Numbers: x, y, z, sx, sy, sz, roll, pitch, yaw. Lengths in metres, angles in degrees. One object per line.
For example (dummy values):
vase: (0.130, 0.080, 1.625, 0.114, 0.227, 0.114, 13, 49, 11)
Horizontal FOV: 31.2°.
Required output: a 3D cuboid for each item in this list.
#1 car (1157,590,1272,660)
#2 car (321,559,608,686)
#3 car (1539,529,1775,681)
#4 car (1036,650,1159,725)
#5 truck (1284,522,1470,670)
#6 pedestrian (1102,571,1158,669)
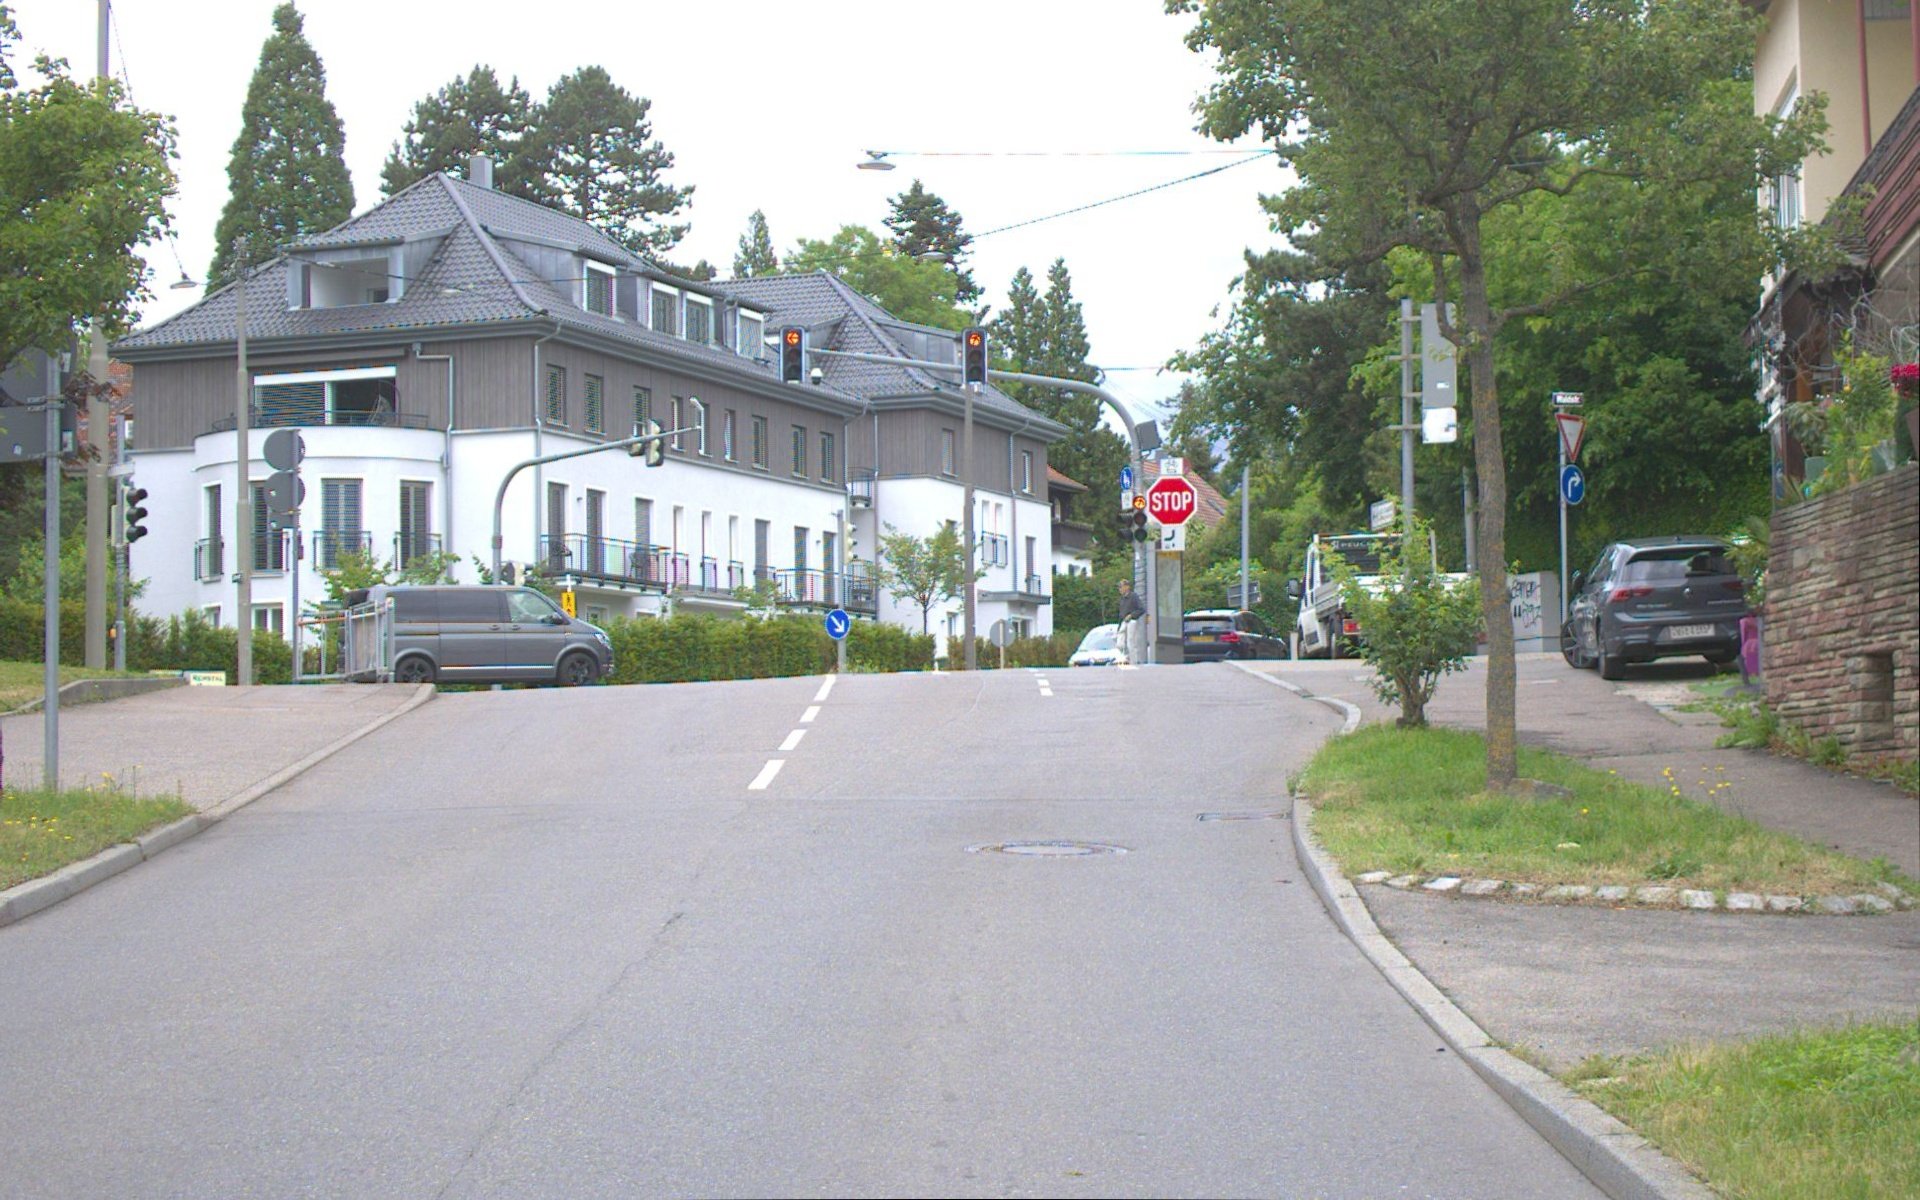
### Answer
car: (5.915, 0.556, 79.549, 2.155, 1.486, 4.710, -1, 1, 10)
car: (-8.680, 0.390, 60.283, 4.494, 2.007, 2.000, -2, -2, -28)
car: (7.533, 0.040, 37.545, 1.848, 1.467, 4.385, -3, 0, 3)
car: (3.757, 2.347, 93.273, 1.996, 1.850, 4.348, 0, 1, 22)
truck: (6.849, -0.001, 57.134, 2.183, 2.188, 5.881, -1, -2, -2)
pedestrian: (2.940, 0.344, 59.627, 0.698, 1.676, 0.686, -1, 0, -26)
